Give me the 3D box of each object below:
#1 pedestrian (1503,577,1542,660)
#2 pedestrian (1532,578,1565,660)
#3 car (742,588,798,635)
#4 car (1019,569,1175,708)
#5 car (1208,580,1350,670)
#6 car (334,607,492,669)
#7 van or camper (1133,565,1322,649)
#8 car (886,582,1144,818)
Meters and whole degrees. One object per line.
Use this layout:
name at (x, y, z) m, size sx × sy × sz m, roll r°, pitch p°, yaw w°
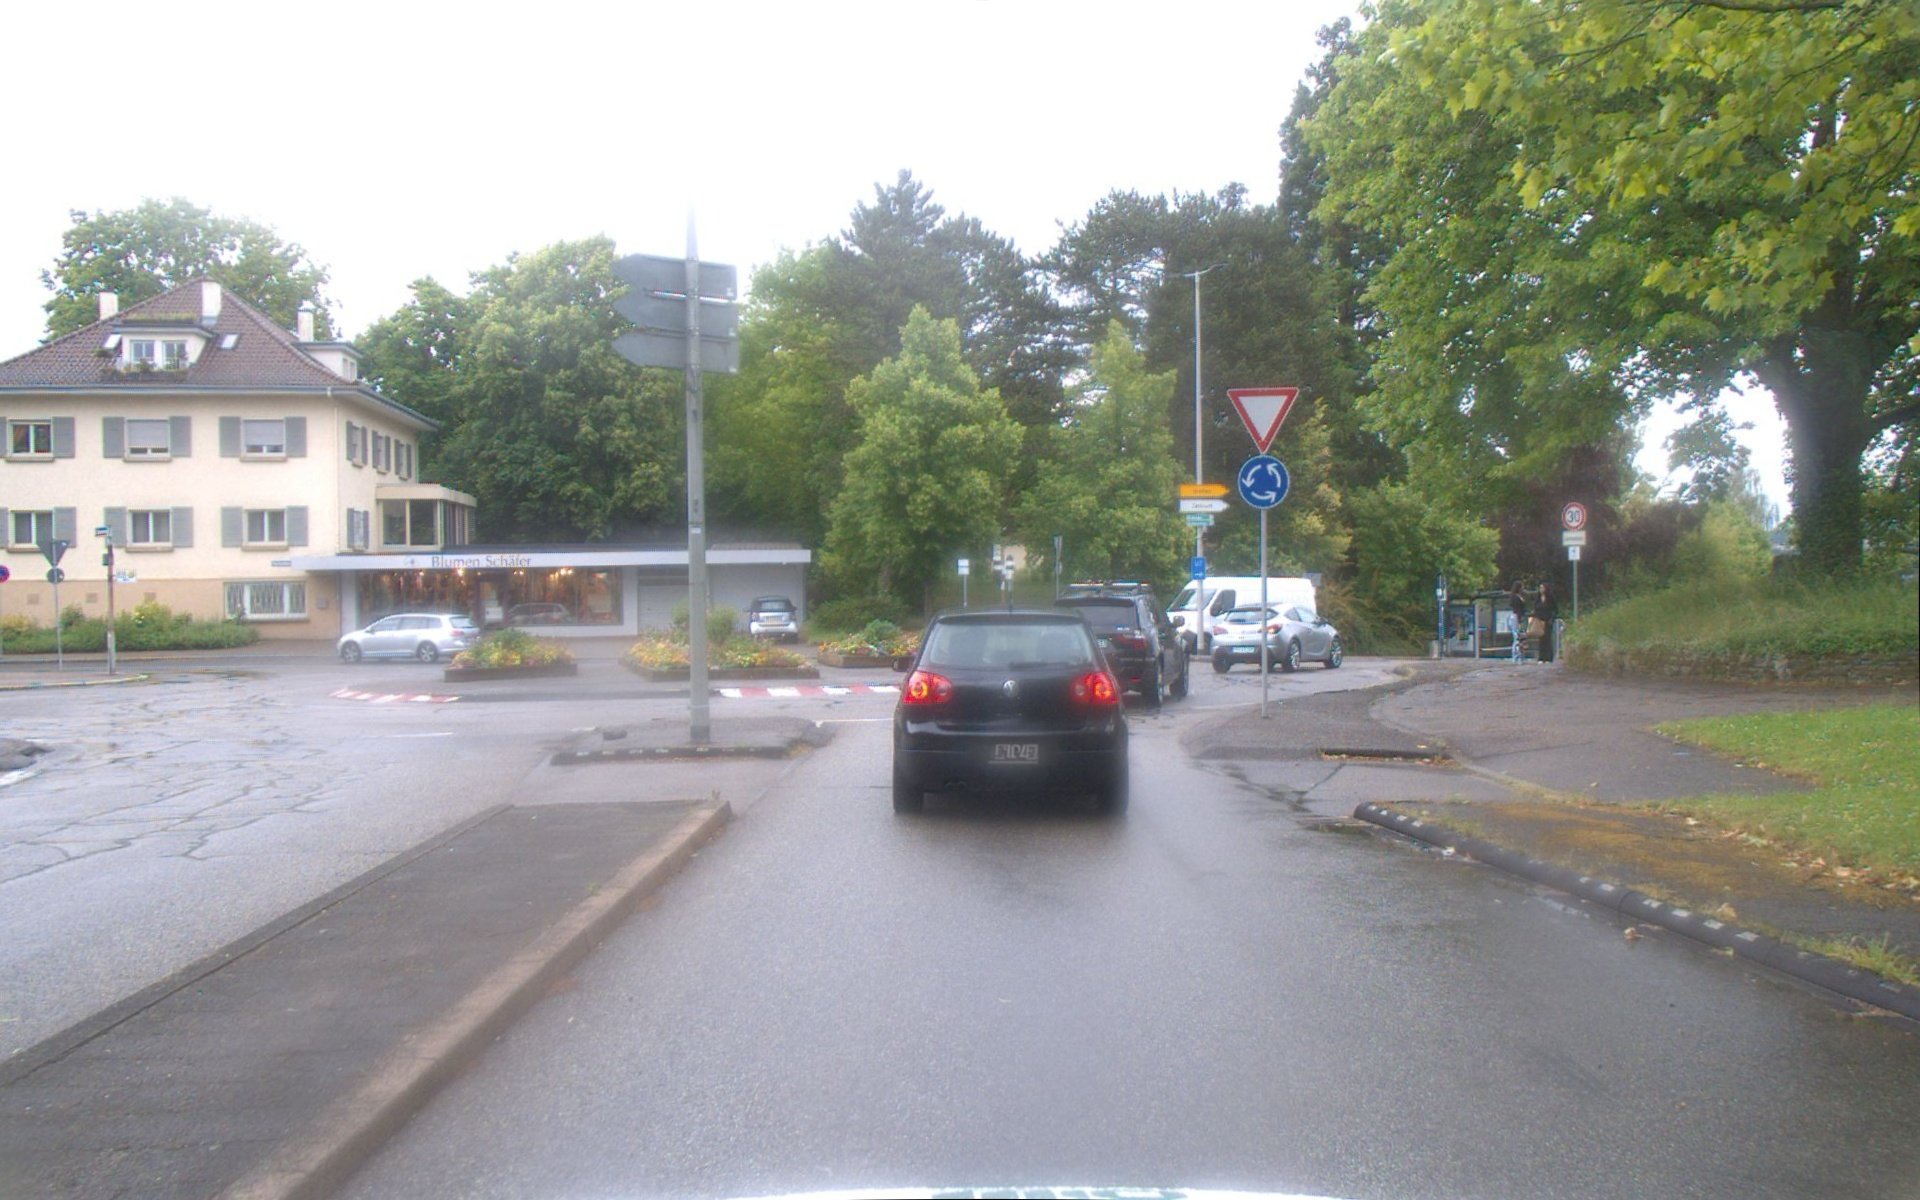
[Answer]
pedestrian at (11.932, 0.390, 35.092) m, size 0.519 × 1.743 × 0.633 m, roll 1°, pitch -1°, yaw -16°
pedestrian at (12.740, 0.413, 35.787) m, size 0.620 × 1.743 × 0.530 m, roll 0°, pitch -1°, yaw 15°
car at (-6.568, 0.377, 56.977) m, size 1.779 × 1.512 × 3.823 m, roll -2°, pitch 0°, yaw -8°
car at (1.949, 0.549, 24.660) m, size 1.729 × 1.833 × 4.243 m, roll -2°, pitch -1°, yaw -3°
car at (7.050, 0.506, 36.262) m, size 1.732 × 1.833 × 4.238 m, roll -2°, pitch -1°, yaw 30°
car at (-16.366, 1.107, 49.520) m, size 4.042 × 1.772 × 2.001 m, roll 0°, pitch -1°, yaw 15°
van or camper at (8.137, 0.239, 50.150) m, size 5.591 × 2.420 × 2.179 m, roll 1°, pitch -1°, yaw -30°
car at (0.576, 0.681, 13.140) m, size 1.727 × 1.565 × 4.003 m, roll 0°, pitch 0°, yaw 6°
